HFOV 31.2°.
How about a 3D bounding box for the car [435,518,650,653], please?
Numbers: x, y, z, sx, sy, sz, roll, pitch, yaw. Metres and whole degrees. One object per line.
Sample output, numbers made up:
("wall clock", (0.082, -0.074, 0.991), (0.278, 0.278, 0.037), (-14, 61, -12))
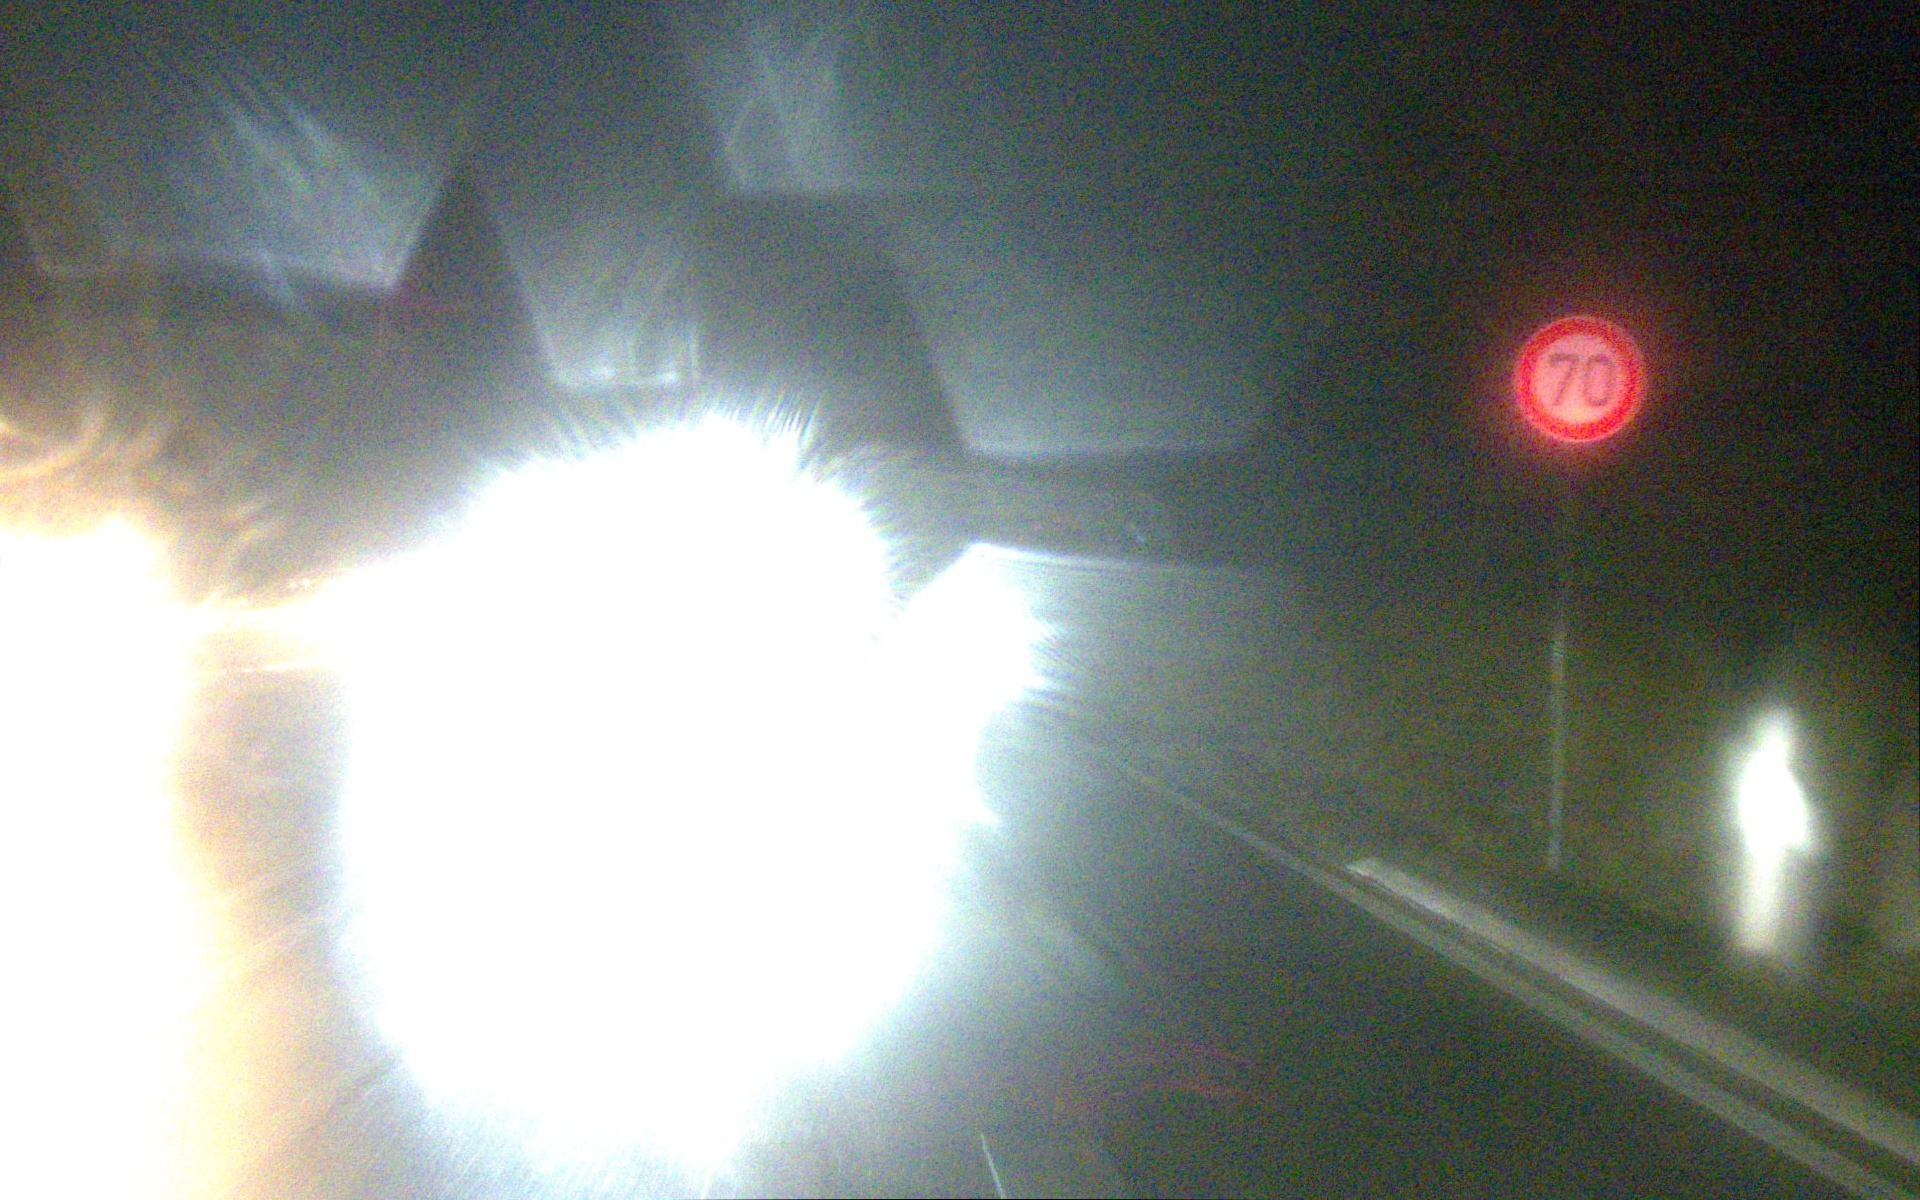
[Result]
("car", (-5.207, -0.194, 43.500), (2.110, 1.570, 4.680), (1, 1, 0))

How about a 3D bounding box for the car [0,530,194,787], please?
("car", (-7.826, 0.383, 27.447), (1.994, 1.858, 5.319), (1, 1, 3))

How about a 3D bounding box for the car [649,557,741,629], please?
("car", (-6.243, -0.180, 81.375), (1.923, 1.610, 4.085), (1, 1, -1))
